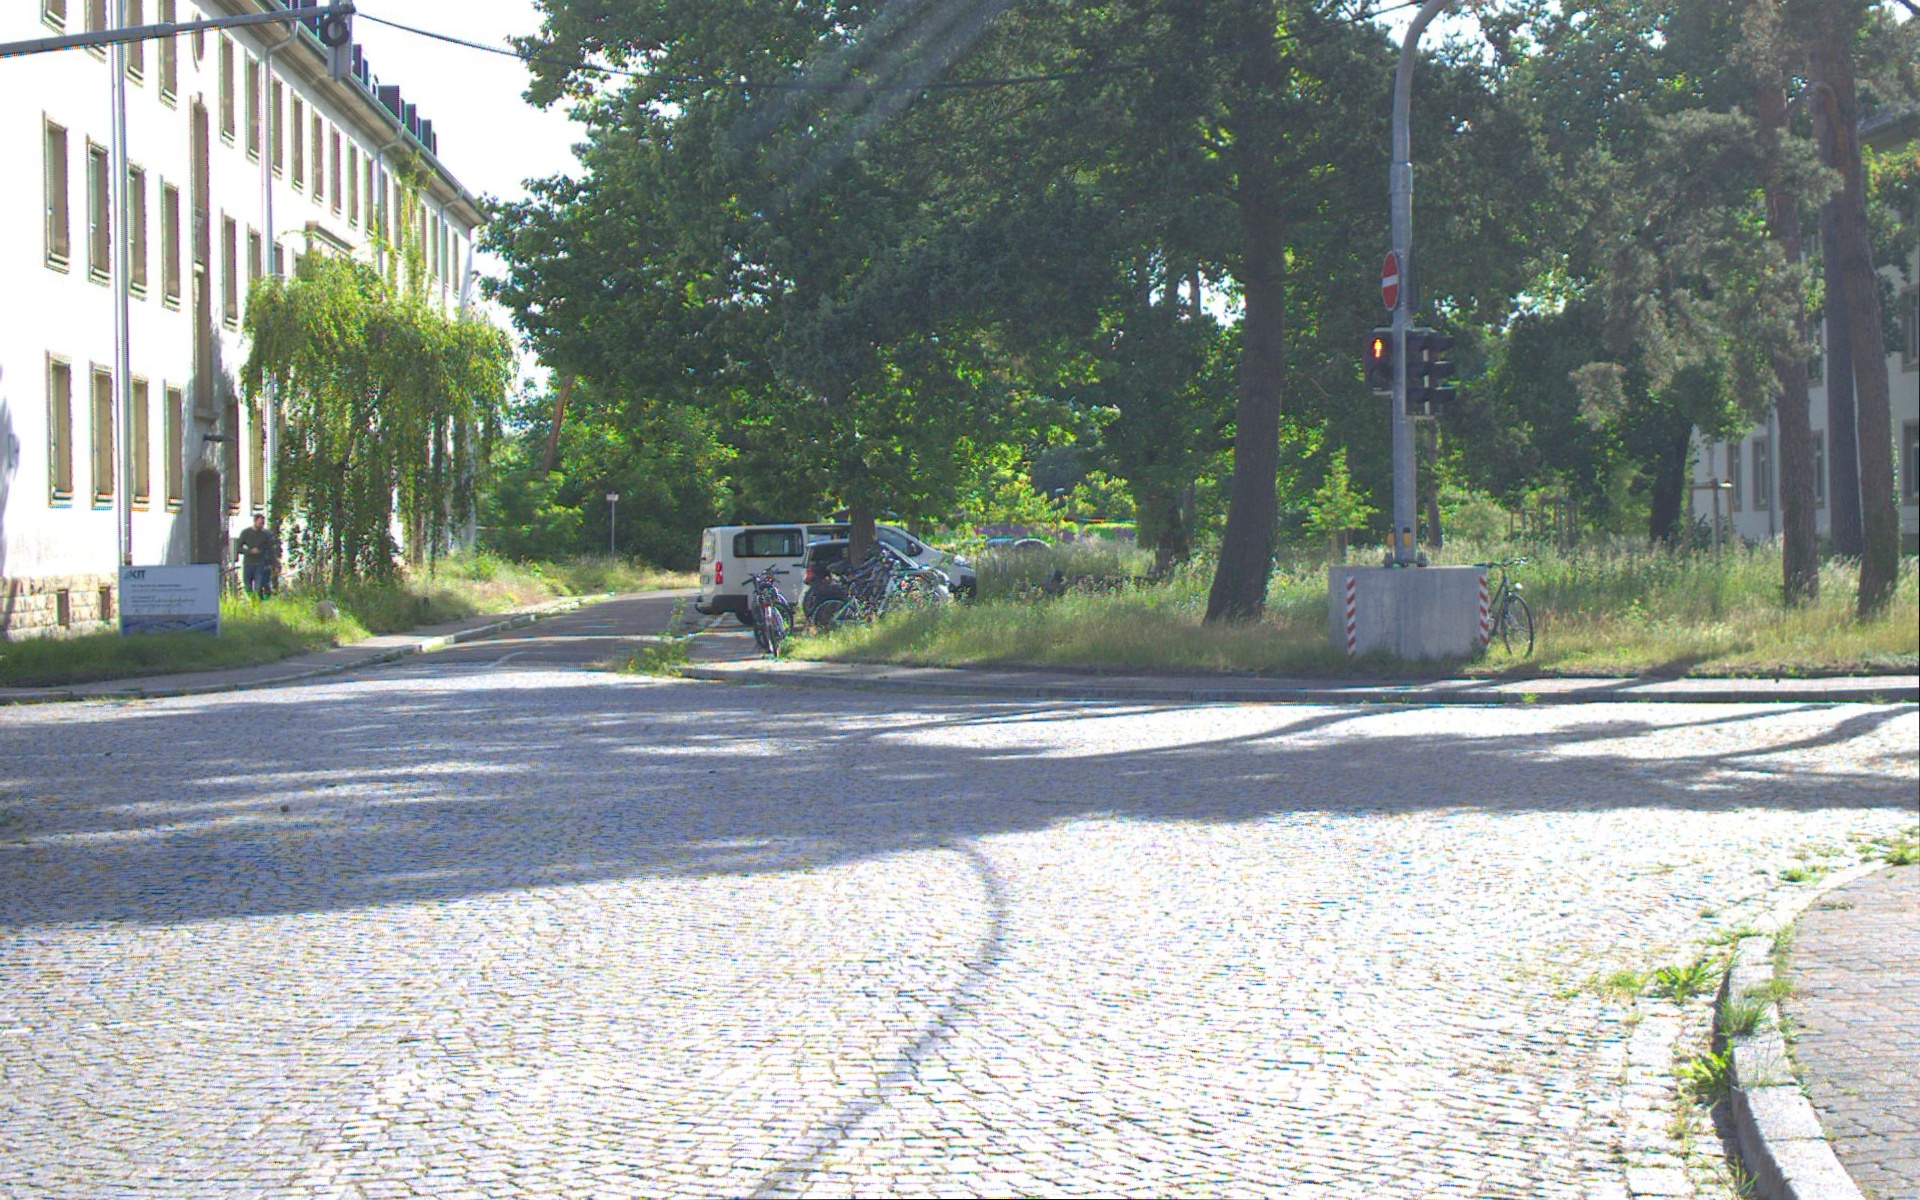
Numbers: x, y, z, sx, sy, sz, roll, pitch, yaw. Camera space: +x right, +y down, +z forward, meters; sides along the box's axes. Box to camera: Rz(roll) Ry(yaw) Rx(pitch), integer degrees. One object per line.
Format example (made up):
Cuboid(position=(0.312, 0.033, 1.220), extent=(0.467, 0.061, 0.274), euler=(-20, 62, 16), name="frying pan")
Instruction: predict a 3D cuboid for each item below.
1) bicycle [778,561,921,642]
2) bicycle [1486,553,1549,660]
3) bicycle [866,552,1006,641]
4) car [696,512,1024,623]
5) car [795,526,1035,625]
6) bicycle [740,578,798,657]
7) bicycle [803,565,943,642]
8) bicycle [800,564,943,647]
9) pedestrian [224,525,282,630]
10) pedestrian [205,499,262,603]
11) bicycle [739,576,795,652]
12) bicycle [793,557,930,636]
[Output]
Cuboid(position=(-1.573, 0.013, 49.042), extent=(1.940, 1.125, 0.648), euler=(-1, 1, -29), name="bicycle")
Cuboid(position=(5.689, 0.060, 35.116), extent=(0.466, 1.076, 1.174), euler=(-1, 0, 1), name="bicycle")
Cuboid(position=(-0.346, -0.054, 48.564), extent=(1.940, 1.231, 0.485), euler=(-1, 1, -5), name="bicycle")
Cuboid(position=(-1.933, -0.625, 65.069), extent=(5.929, 2.007, 2.476), euler=(-1, 1, -9), name="car")
Cuboid(position=(-0.813, -0.444, 60.825), extent=(3.986, 1.678, 1.848), euler=(-1, 1, -10), name="car")
Cuboid(position=(-2.421, 0.213, 43.518), extent=(0.695, 0.968, 1.861), euler=(0, 1, -4), name="bicycle")
Cuboid(position=(-1.195, 0.046, 47.038), extent=(1.854, 1.027, 0.750), euler=(-1, 1, -5), name="bicycle")
Cuboid(position=(-1.240, 0.076, 47.834), extent=(1.940, 1.125, 0.750), euler=(-1, 1, -5), name="bicycle")
Cuboid(position=(-12.227, -0.390, 59.491), extent=(0.812, 1.811, 0.555), euler=(-1, 1, 9), name="pedestrian")
Cuboid(position=(-12.804, -0.868, 60.611), extent=(0.767, 1.811, 0.682), euler=(0, 1, 9), name="pedestrian")
Cuboid(position=(-2.559, 0.174, 45.453), extent=(0.695, 0.968, 1.861), euler=(0, 1, -4), name="bicycle")
Cuboid(position=(-1.441, -0.050, 50.134), extent=(1.940, 1.125, 0.648), euler=(-1, 1, -7), name="bicycle")
